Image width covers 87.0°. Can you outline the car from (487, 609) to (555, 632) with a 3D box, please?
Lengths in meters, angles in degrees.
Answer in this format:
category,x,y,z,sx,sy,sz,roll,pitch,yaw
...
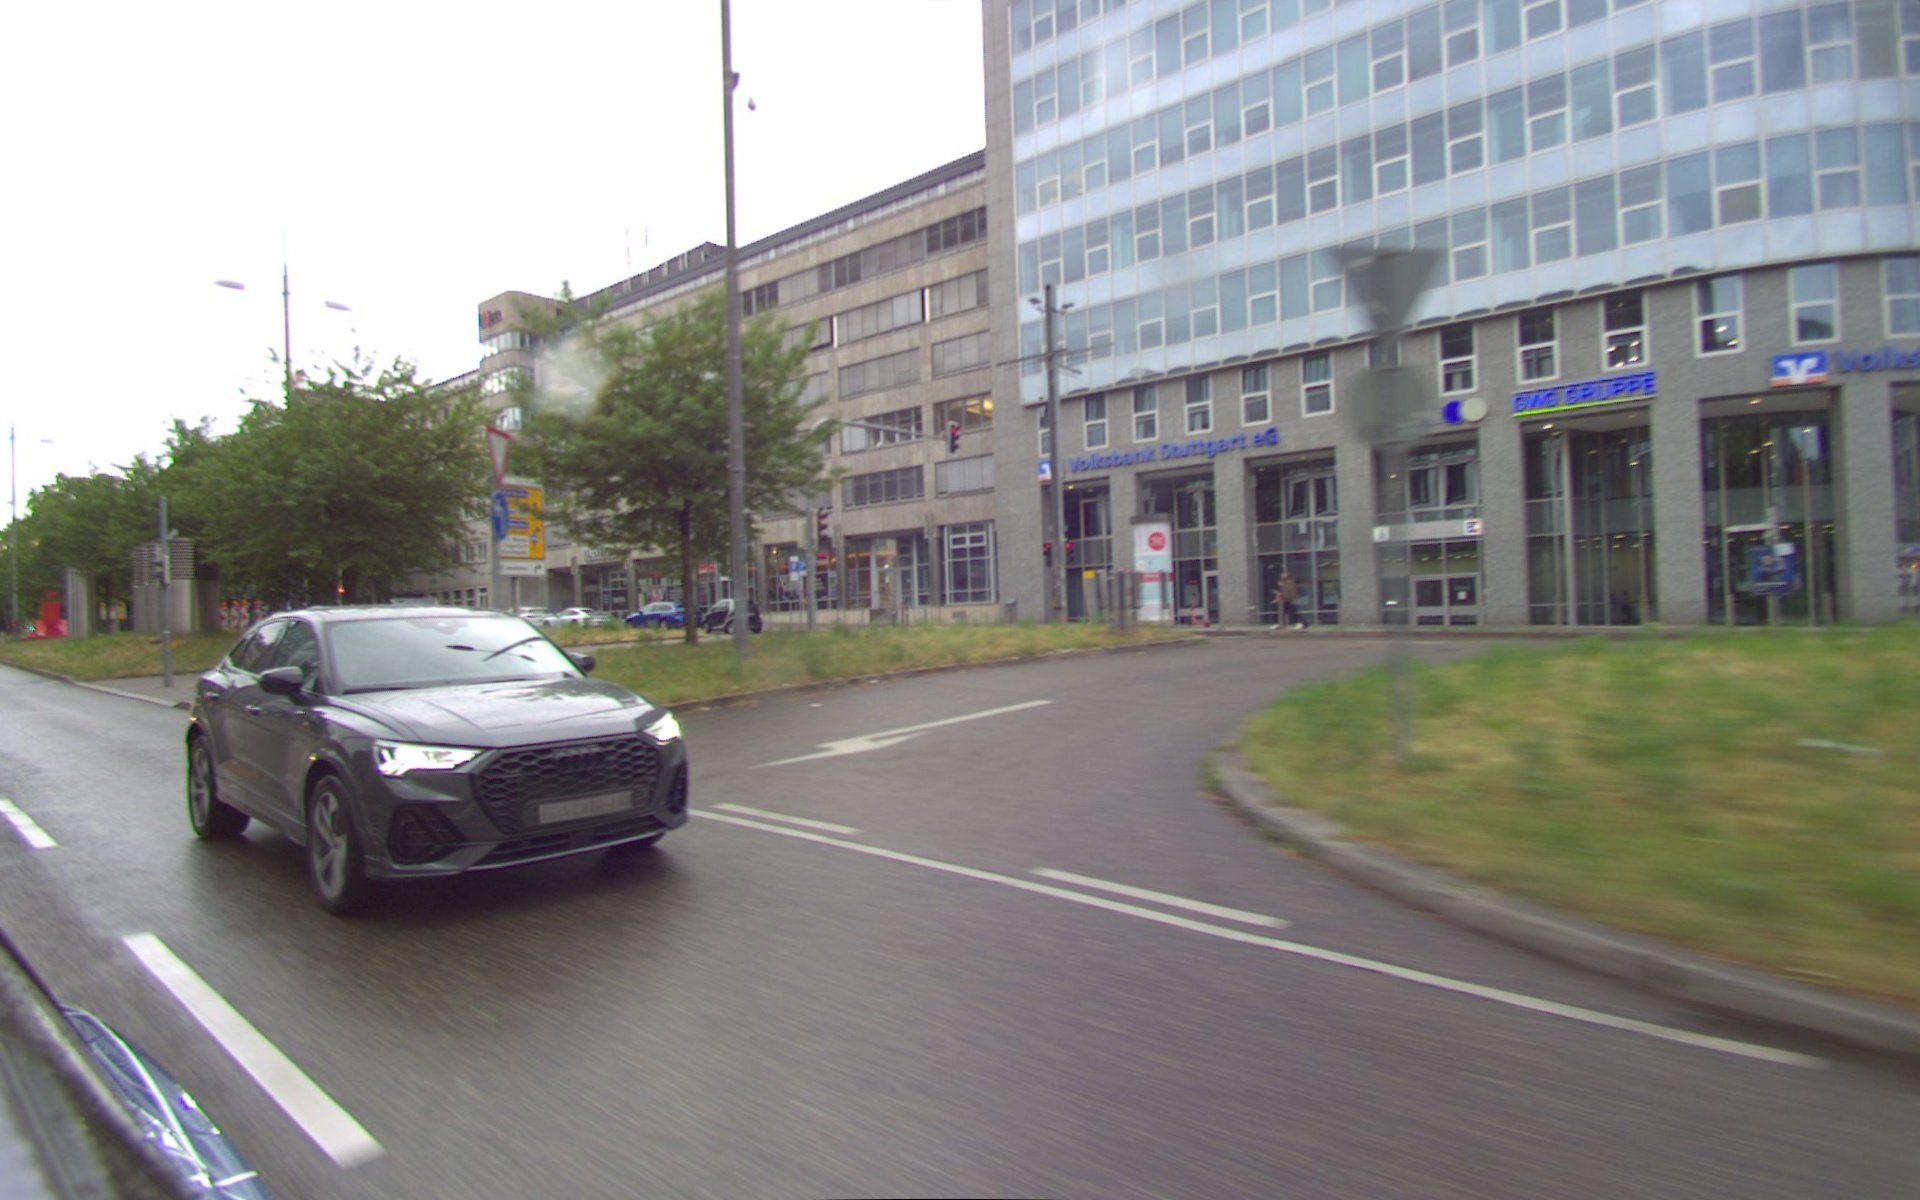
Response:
category,x,y,z,sx,sy,sz,roll,pitch,yaw
car,-23.890,1.144,55.060,4.100,1.131,1.557,-2,1,37

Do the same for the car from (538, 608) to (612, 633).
category,x,y,z,sx,sy,sz,roll,pitch,yaw
car,-19.665,1.064,51.609,4.100,1.131,1.557,-2,1,37

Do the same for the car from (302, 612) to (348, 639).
category,x,y,z,sx,sy,sz,roll,pitch,yaw
car,-34.722,1.405,55.323,2.626,1.396,1.393,-2,1,41

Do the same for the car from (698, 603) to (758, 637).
category,x,y,z,sx,sy,sz,roll,pitch,yaw
car,-10.312,0.894,44.872,2.626,1.396,1.227,-2,1,41

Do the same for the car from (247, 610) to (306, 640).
category,x,y,z,sx,sy,sz,roll,pitch,yaw
car,-40.274,1.480,59.609,4.105,1.592,1.856,-2,1,41

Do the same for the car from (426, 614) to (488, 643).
category,x,y,z,sx,sy,sz,roll,pitch,yaw
car,-29.858,1.673,60.049,4.100,1.592,1.557,-2,1,37

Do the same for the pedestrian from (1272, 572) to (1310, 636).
category,x,y,z,sx,sy,sz,roll,pitch,yaw
pedestrian,10.667,0.126,32.578,1.030,2.029,0.844,-1,-1,28

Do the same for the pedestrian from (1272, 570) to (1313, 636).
category,x,y,z,sx,sy,sz,roll,pitch,yaw
pedestrian,10.400,0.113,31.629,1.030,2.029,1.045,-1,-1,28

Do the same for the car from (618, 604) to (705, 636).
category,x,y,z,sx,sy,sz,roll,pitch,yaw
car,-14.155,0.967,47.914,4.313,1.396,1.660,-2,1,37

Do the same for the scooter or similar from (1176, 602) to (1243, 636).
category,x,y,z,sx,sy,sz,roll,pitch,yaw
scooter or similar,9.073,0.693,36.804,2.243,1.222,0.765,-1,-1,38

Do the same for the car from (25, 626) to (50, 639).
category,x,y,z,sx,sy,sz,roll,pitch,yaw
car,-129.510,4.535,142.057,4.105,1.599,2.046,-2,1,41

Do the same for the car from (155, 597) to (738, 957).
category,x,y,z,sx,sy,sz,roll,pitch,yaw
car,-3.491,0.800,6.453,4.343,1.529,1.841,-2,-1,41

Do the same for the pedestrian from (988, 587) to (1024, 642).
category,x,y,z,sx,sy,sz,roll,pitch,yaw
pedestrian,1.624,0.513,35.418,0.928,1.895,0.950,-1,-1,28
